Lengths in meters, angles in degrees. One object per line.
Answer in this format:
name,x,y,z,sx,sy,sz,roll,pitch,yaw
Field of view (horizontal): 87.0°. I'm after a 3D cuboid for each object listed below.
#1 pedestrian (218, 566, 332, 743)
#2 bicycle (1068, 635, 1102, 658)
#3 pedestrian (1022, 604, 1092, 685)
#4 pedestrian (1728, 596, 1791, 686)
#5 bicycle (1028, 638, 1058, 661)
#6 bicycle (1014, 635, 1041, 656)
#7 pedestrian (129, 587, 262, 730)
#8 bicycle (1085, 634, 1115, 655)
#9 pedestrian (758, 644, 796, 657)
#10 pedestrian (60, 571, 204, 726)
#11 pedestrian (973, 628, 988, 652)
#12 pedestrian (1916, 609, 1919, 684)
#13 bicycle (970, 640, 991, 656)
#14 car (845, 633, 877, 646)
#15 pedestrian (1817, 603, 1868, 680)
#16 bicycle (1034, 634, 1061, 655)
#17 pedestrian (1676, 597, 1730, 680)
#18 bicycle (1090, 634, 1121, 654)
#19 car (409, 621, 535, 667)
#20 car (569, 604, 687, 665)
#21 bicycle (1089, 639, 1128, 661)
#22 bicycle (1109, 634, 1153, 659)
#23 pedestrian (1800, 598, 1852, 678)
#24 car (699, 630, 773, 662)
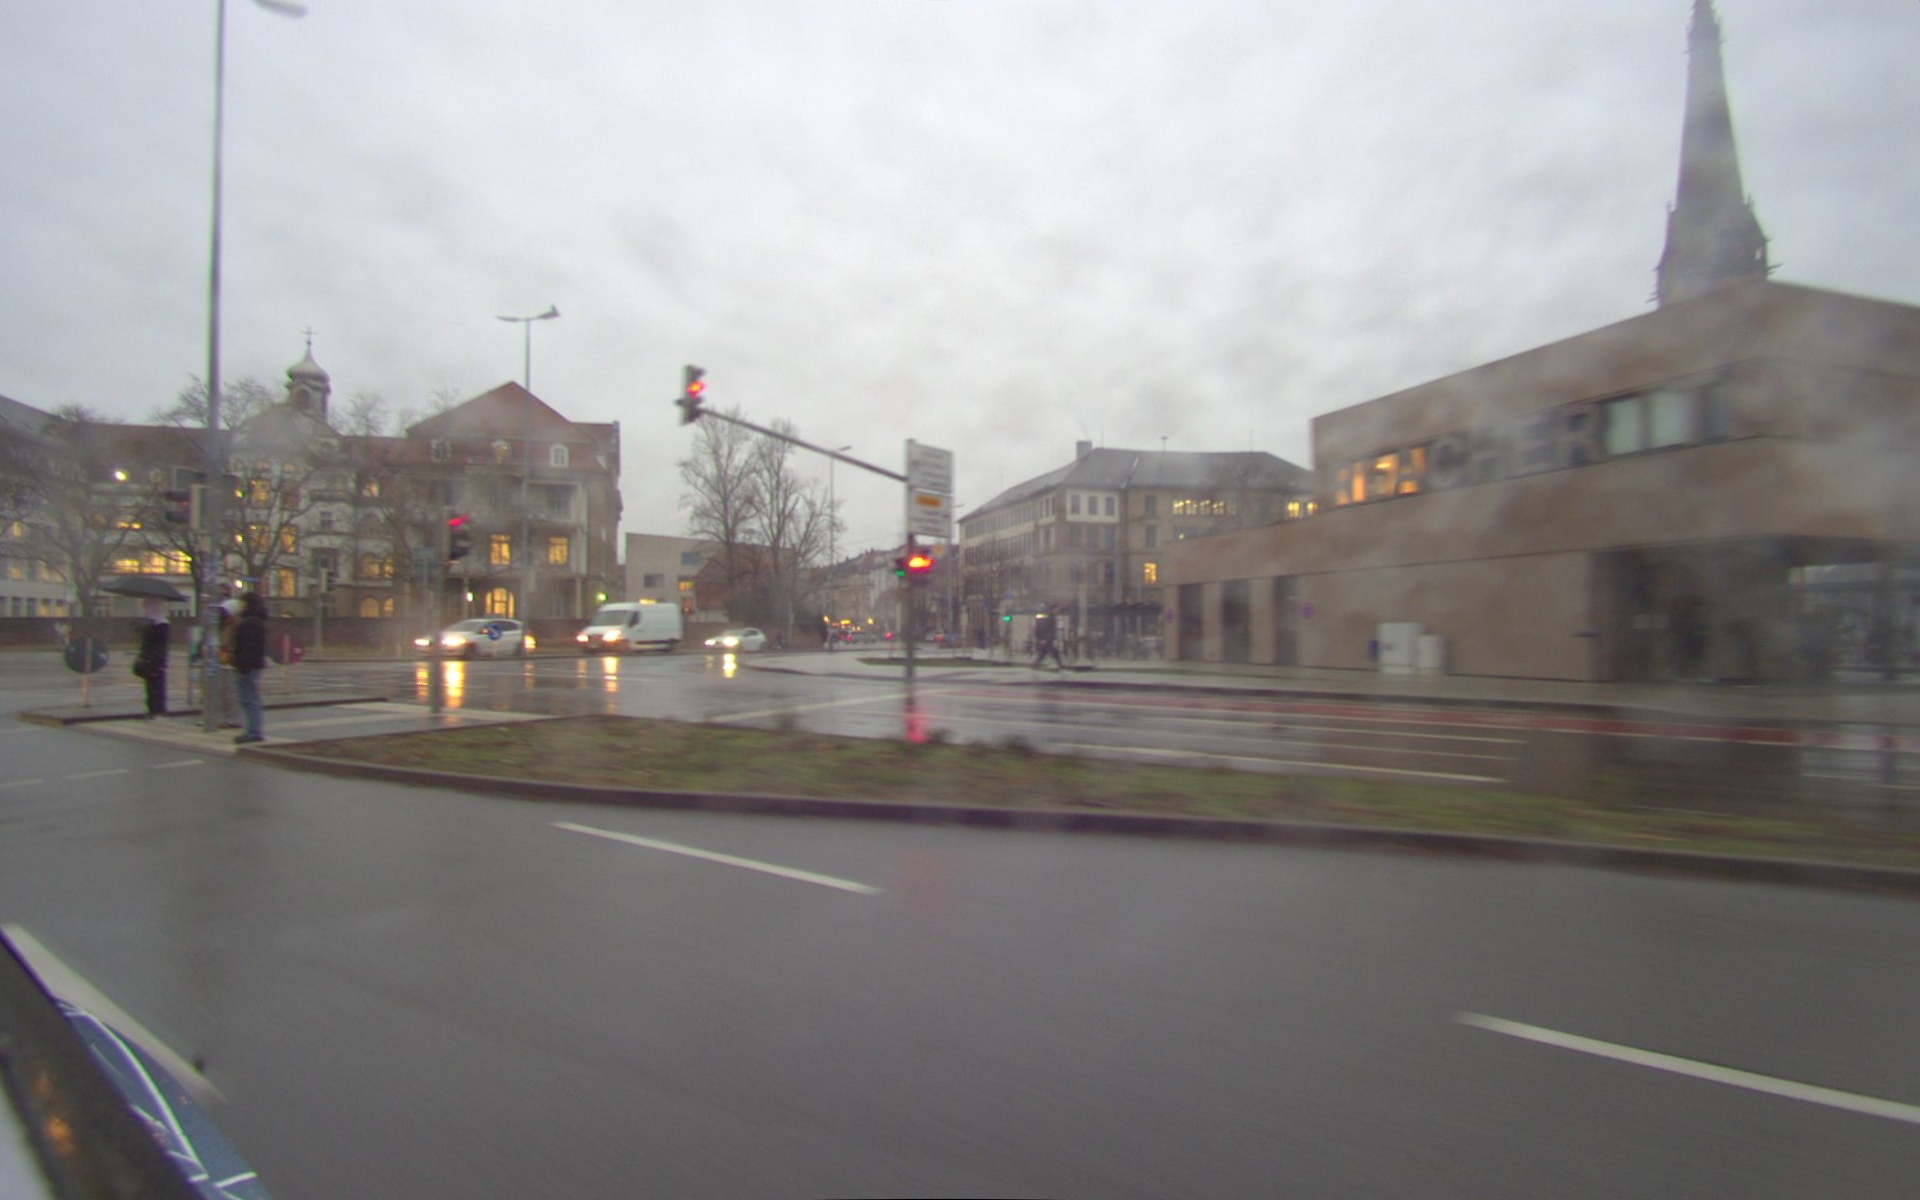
pedestrian,-8.244,0.658,12.177,1.107,2.021,0.838,-5,-4,37
bicycle,6.191,2.329,50.294,0.636,1.113,2.758,-2,-3,-14
pedestrian,2.309,1.060,24.182,1.214,1.872,1.037,0,-4,-36
pedestrian,16.206,0.831,20.534,0.828,1.781,0.656,-1,-3,26
bicycle,4.249,2.533,51.934,0.636,1.113,2.758,-2,-3,-14
bicycle,3.835,2.581,57.599,0.636,1.113,2.758,-1,-3,-14
pedestrian,-10.592,0.807,14.065,1.057,1.872,1.033,-3,-3,5
bicycle,7.860,2.518,57.067,0.636,1.113,2.758,-1,-3,-14
pedestrian,-15.171,4.211,83.826,3.048,0.937,0.951,-2,-3,-13
pedestrian,-11.710,0.686,14.362,1.023,2.065,1.212,-3,-3,9
pedestrian,1.538,3.014,76.283,0.716,1.747,0.970,0,-3,35
pedestrian,21.200,0.990,21.485,0.841,1.615,0.968,1,-3,-18
bicycle,1.527,3.602,76.287,0.623,1.185,1.850,0,-2,35
car,-13.652,5.473,140.141,3.934,1.763,1.977,2,-3,-37
pedestrian,20.391,0.963,23.391,0.742,1.739,0.734,-2,-3,34
bicycle,4.993,2.544,57.797,0.636,1.113,2.758,-1,-3,-14
pedestrian,16.003,0.822,21.804,0.731,1.739,0.745,2,-3,-40
bicycle,8.498,2.571,59.135,0.636,1.113,2.759,-1,-3,-17
car,-17.911,1.614,37.373,1.740,1.515,4.293,-3,-3,17
car,-15.194,1.613,46.753,2.327,2.537,5.836,-3,-3,16
bicycle,7.698,2.596,52.596,0.636,1.113,2.759,-1,-2,-23
bicycle,7.751,2.115,46.056,0.597,1.113,2.759,-1,-2,-21
pedestrian,19.463,0.855,22.747,0.731,1.739,0.745,2,-3,-40
car,-12.311,2.519,56.002,1.824,1.656,4.787,0,-2,18
